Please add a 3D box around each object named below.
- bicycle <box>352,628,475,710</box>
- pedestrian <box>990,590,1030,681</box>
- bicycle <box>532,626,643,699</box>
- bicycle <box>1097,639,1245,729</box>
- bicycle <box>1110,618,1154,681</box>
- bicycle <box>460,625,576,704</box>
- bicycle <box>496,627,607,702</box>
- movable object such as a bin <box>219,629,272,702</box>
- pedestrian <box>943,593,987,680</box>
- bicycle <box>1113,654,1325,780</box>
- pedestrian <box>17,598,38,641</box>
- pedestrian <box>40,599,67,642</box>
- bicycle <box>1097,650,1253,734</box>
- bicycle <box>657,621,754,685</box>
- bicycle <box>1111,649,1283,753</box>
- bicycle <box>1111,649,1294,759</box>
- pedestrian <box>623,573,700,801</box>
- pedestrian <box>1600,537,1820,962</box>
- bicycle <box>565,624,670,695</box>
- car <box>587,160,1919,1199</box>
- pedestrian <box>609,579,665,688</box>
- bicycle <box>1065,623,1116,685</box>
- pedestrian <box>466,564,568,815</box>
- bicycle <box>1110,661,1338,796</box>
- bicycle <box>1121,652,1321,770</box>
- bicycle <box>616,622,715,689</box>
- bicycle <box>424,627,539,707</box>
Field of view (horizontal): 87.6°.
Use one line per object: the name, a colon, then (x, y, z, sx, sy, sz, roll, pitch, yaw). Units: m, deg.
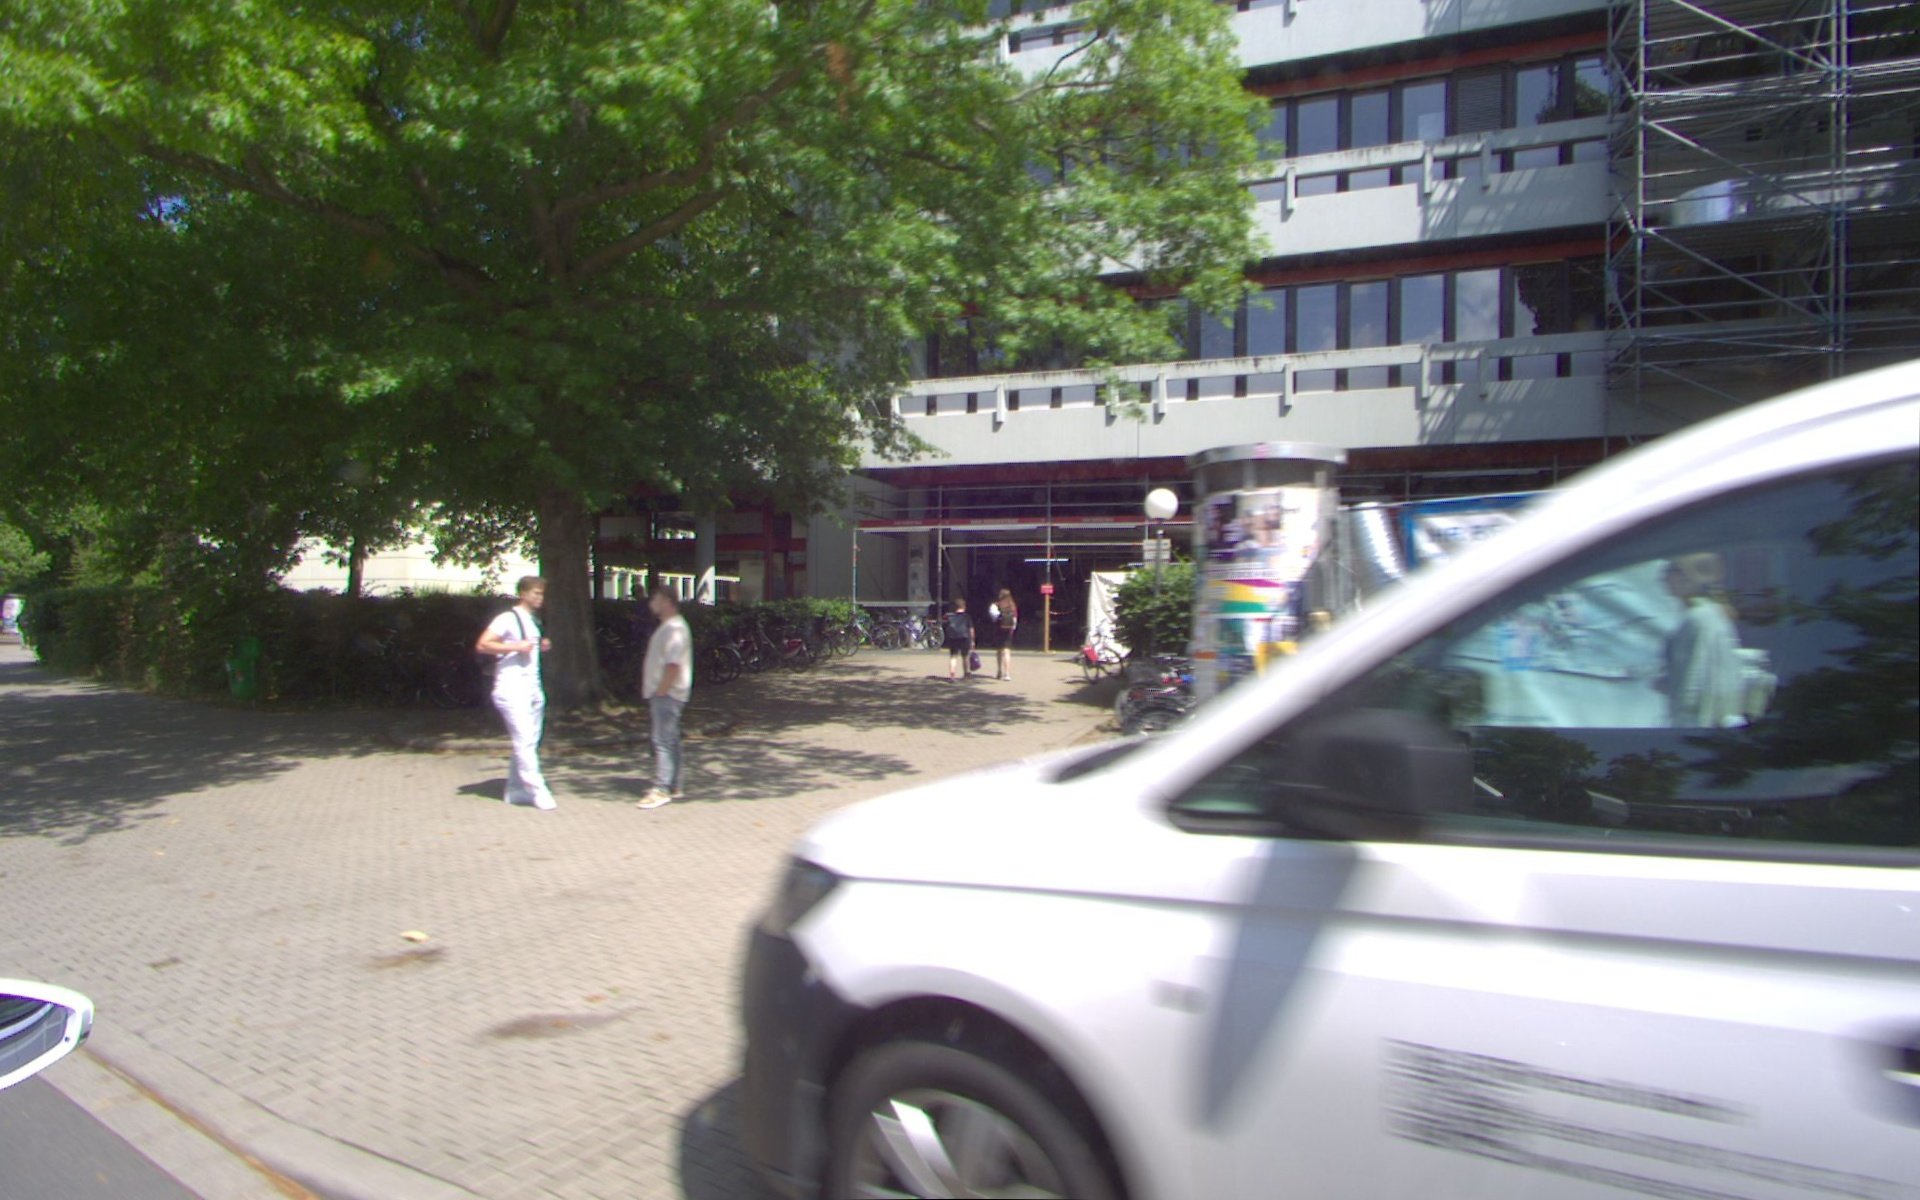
bicycle: (-8.051, 0.982, 14.732, 1.841, 1.133, 0.619, 0, -1, 25)
pedestrian: (0.933, 0.654, 18.782, 0.709, 1.656, 0.831, 0, 0, 2)
bicycle: (-6.060, 0.994, 16.269, 1.908, 1.133, 0.498, 0, 0, 25)
bicycle: (2.656, 1.049, 12.693, 1.773, 1.092, 0.500, 0, 1, 0)
bicycle: (3.345, 0.925, 19.379, 0.491, 1.134, 1.867, 0, 0, 21)
bicycle: (-6.797, 0.967, 15.388, 1.904, 1.133, 0.498, 0, 0, 25)
bicycle: (-6.461, 0.996, 15.822, 1.841, 1.133, 0.498, 0, 0, 25)
movable object such as a bin: (-10.944, 0.994, 15.343, 0.497, 1.086, 0.489, 0, 0, 27)
pedestrian: (0.104, 0.675, 18.761, 0.714, 1.593, 0.760, 0, 0, 9)
bicycle: (2.254, 1.010, 8.865, 1.774, 1.030, 0.514, 0, 1, 9)
pedestrian: (-38.792, 0.821, 41.665, 0.597, 1.778, 0.623, 1, 0, -43)
pedestrian: (-38.084, 0.858, 42.081, 0.816, 1.778, 0.623, 1, 0, -44)
bicycle: (2.581, 1.104, 12.125, 1.773, 0.970, 0.514, 0, 1, 0)
bicycle: (-4.705, 0.963, 18.487, 1.841, 1.133, 0.498, 0, 0, 25)
bicycle: (2.586, 1.076, 10.956, 1.777, 1.030, 0.513, 0, 1, 21)
bicycle: (2.463, 1.033, 10.214, 1.776, 1.030, 0.513, 0, 1, 18)
pedestrian: (-2.396, 0.671, 8.051, 0.554, 1.732, 0.744, 1, 0, -16)
pedestrian: (3.232, 0.589, 4.386, 0.701, 1.653, 0.711, 0, 0, 32)
bicycle: (-5.778, 0.986, 16.870, 1.841, 1.133, 0.498, 0, 0, 25)
car: (1.728, 0.482, 1.800, 4.816, 1.916, 1.846, 0, 0, 30)
pedestrian: (-5.609, 0.576, 17.417, 0.749, 1.861, 0.543, 0, 0, 26)
bicycle: (2.444, 0.972, 18.583, 0.491, 1.040, 1.867, 0, 0, 21)
pedestrian: (-3.429, 0.669, 7.801, 0.619, 1.845, 0.722, 1, 0, -16)
bicycle: (2.137, 1.036, 8.271, 1.774, 1.030, 0.514, 0, 1, 9)
bicycle: (2.421, 1.024, 9.435, 1.774, 1.030, 0.514, 0, 1, 9)
bicycle: (-5.276, 0.973, 17.909, 1.841, 1.133, 0.498, 0, 0, 25)
bicycle: (-7.177, 0.974, 14.987, 1.841, 1.133, 0.498, 0, 0, 25)
